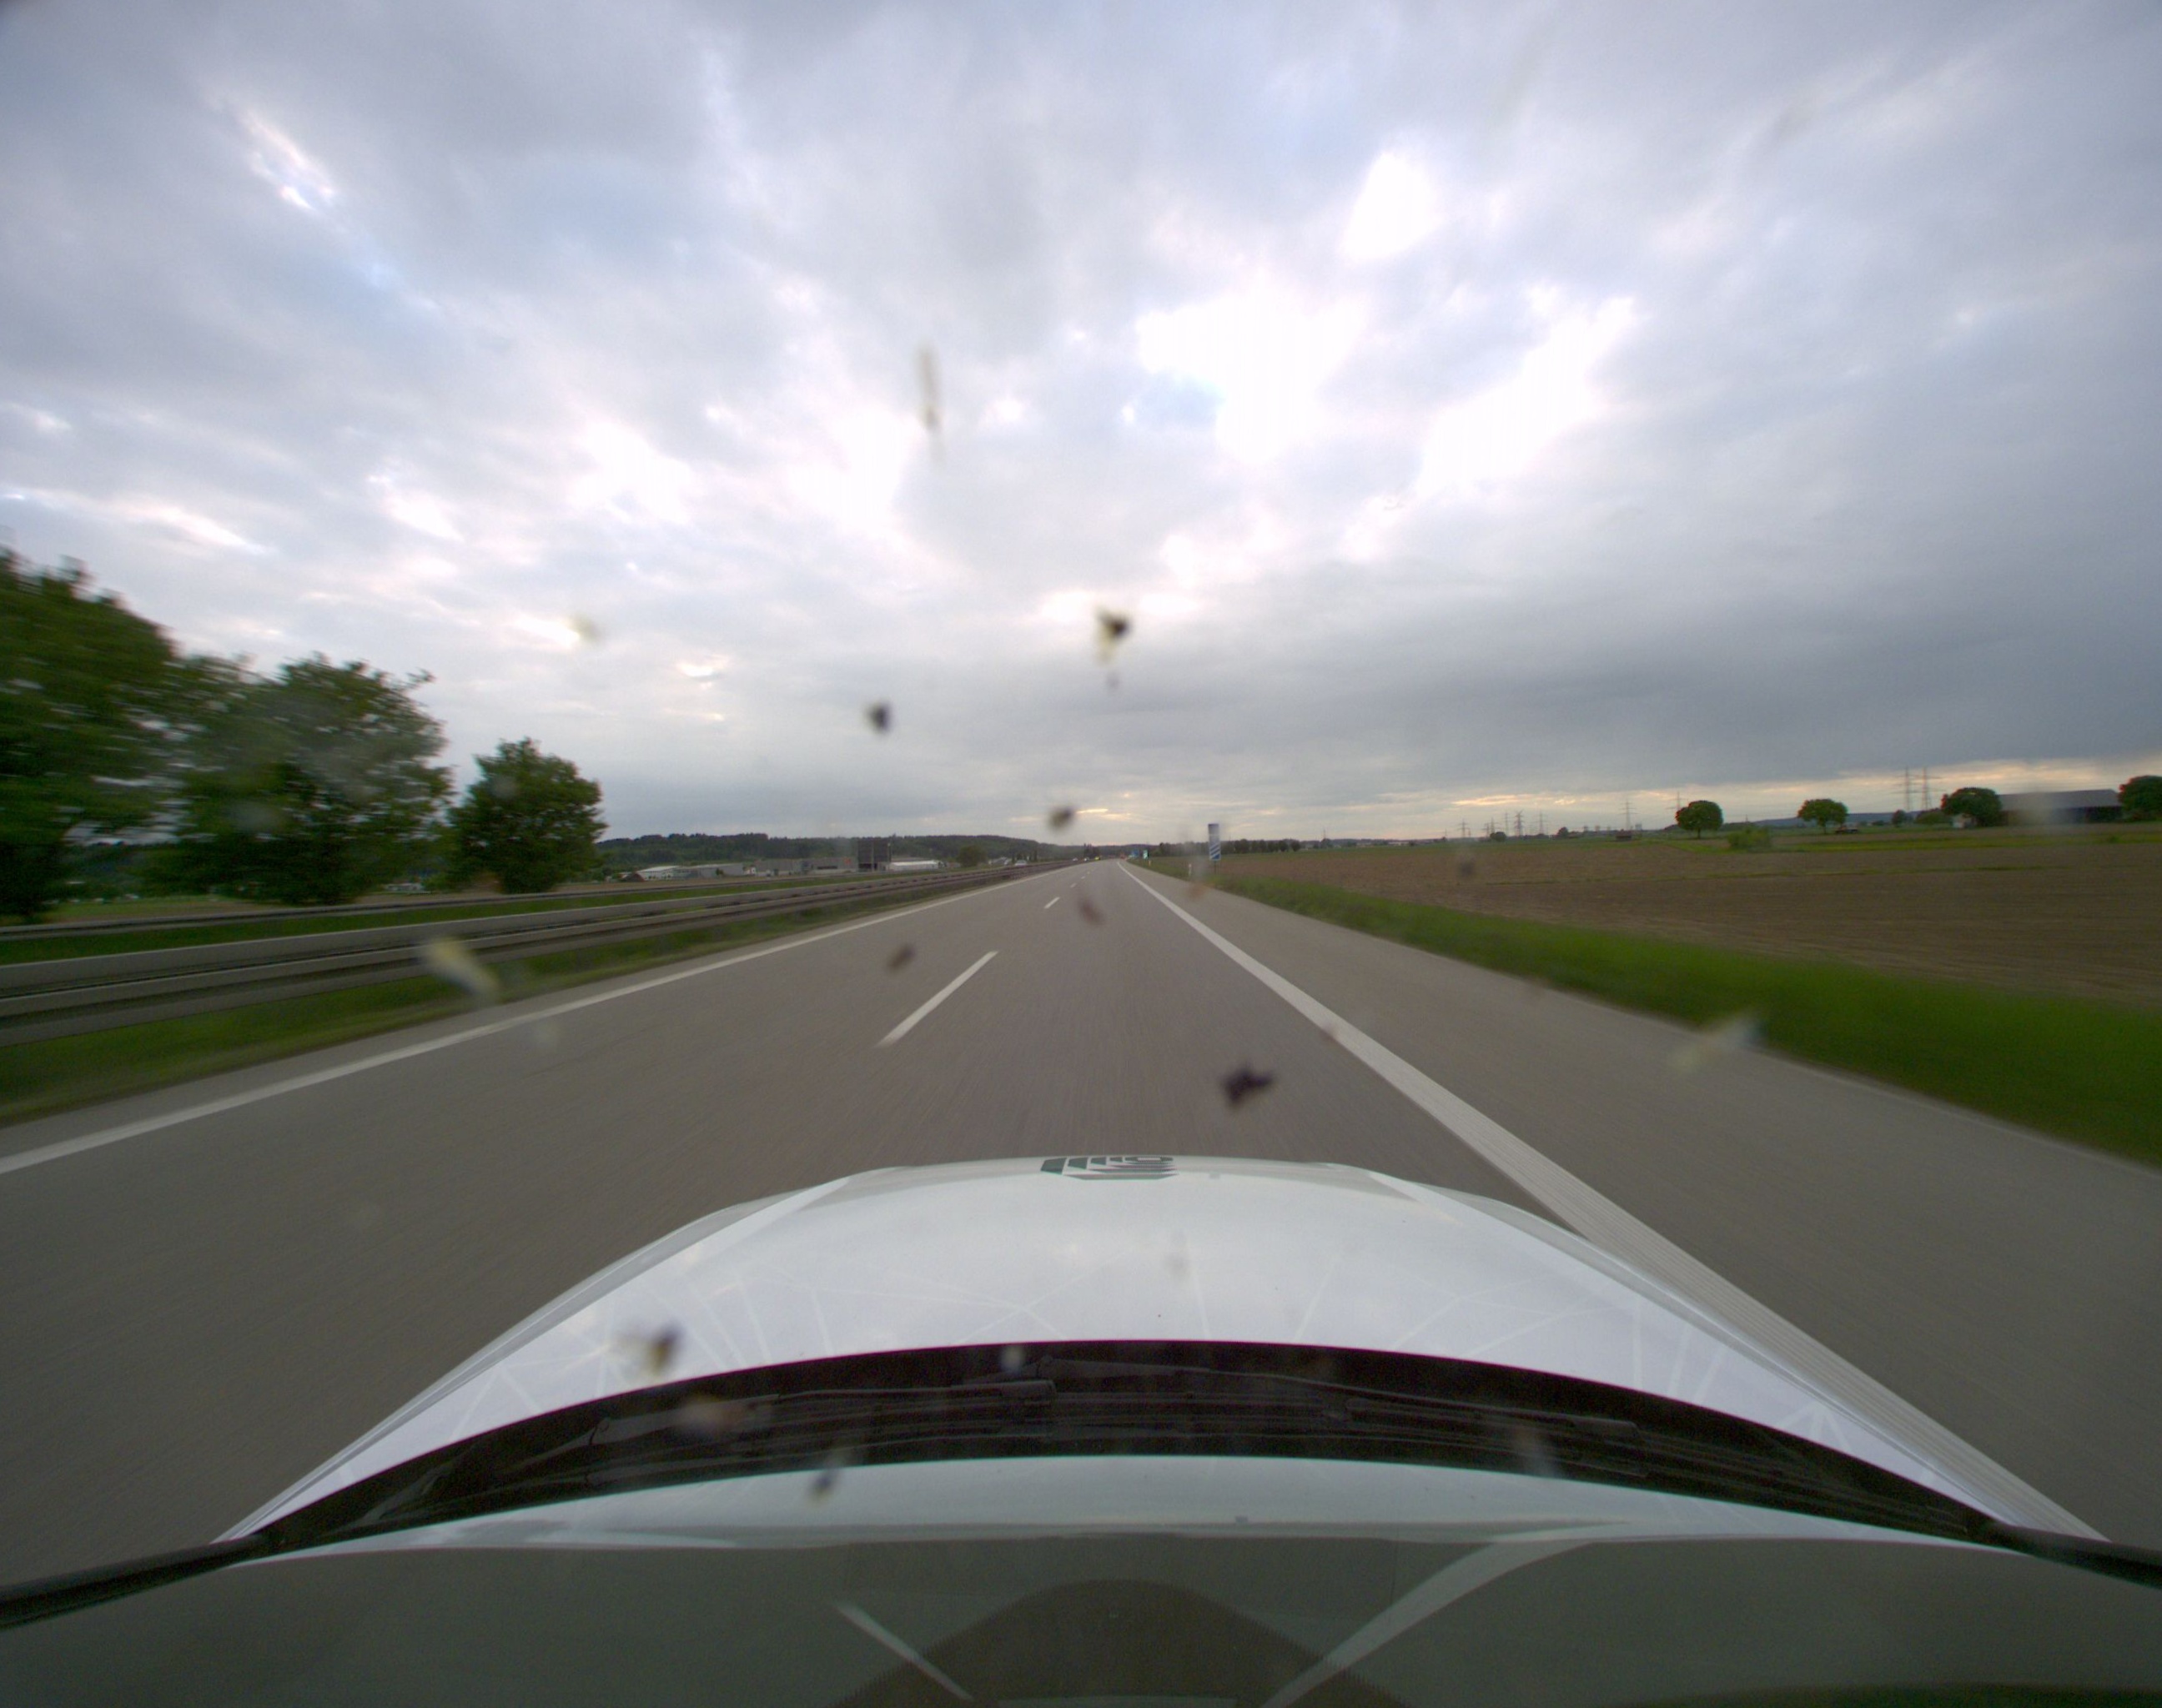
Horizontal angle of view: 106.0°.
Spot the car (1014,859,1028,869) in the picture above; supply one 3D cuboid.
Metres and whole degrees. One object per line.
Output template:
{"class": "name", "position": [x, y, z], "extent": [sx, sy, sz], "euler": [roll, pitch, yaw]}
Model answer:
{"class": "car", "position": [-9.344, 1.538, 127.496], "extent": [1.734, 1.574, 4.858], "euler": [-1, 0, 2]}
